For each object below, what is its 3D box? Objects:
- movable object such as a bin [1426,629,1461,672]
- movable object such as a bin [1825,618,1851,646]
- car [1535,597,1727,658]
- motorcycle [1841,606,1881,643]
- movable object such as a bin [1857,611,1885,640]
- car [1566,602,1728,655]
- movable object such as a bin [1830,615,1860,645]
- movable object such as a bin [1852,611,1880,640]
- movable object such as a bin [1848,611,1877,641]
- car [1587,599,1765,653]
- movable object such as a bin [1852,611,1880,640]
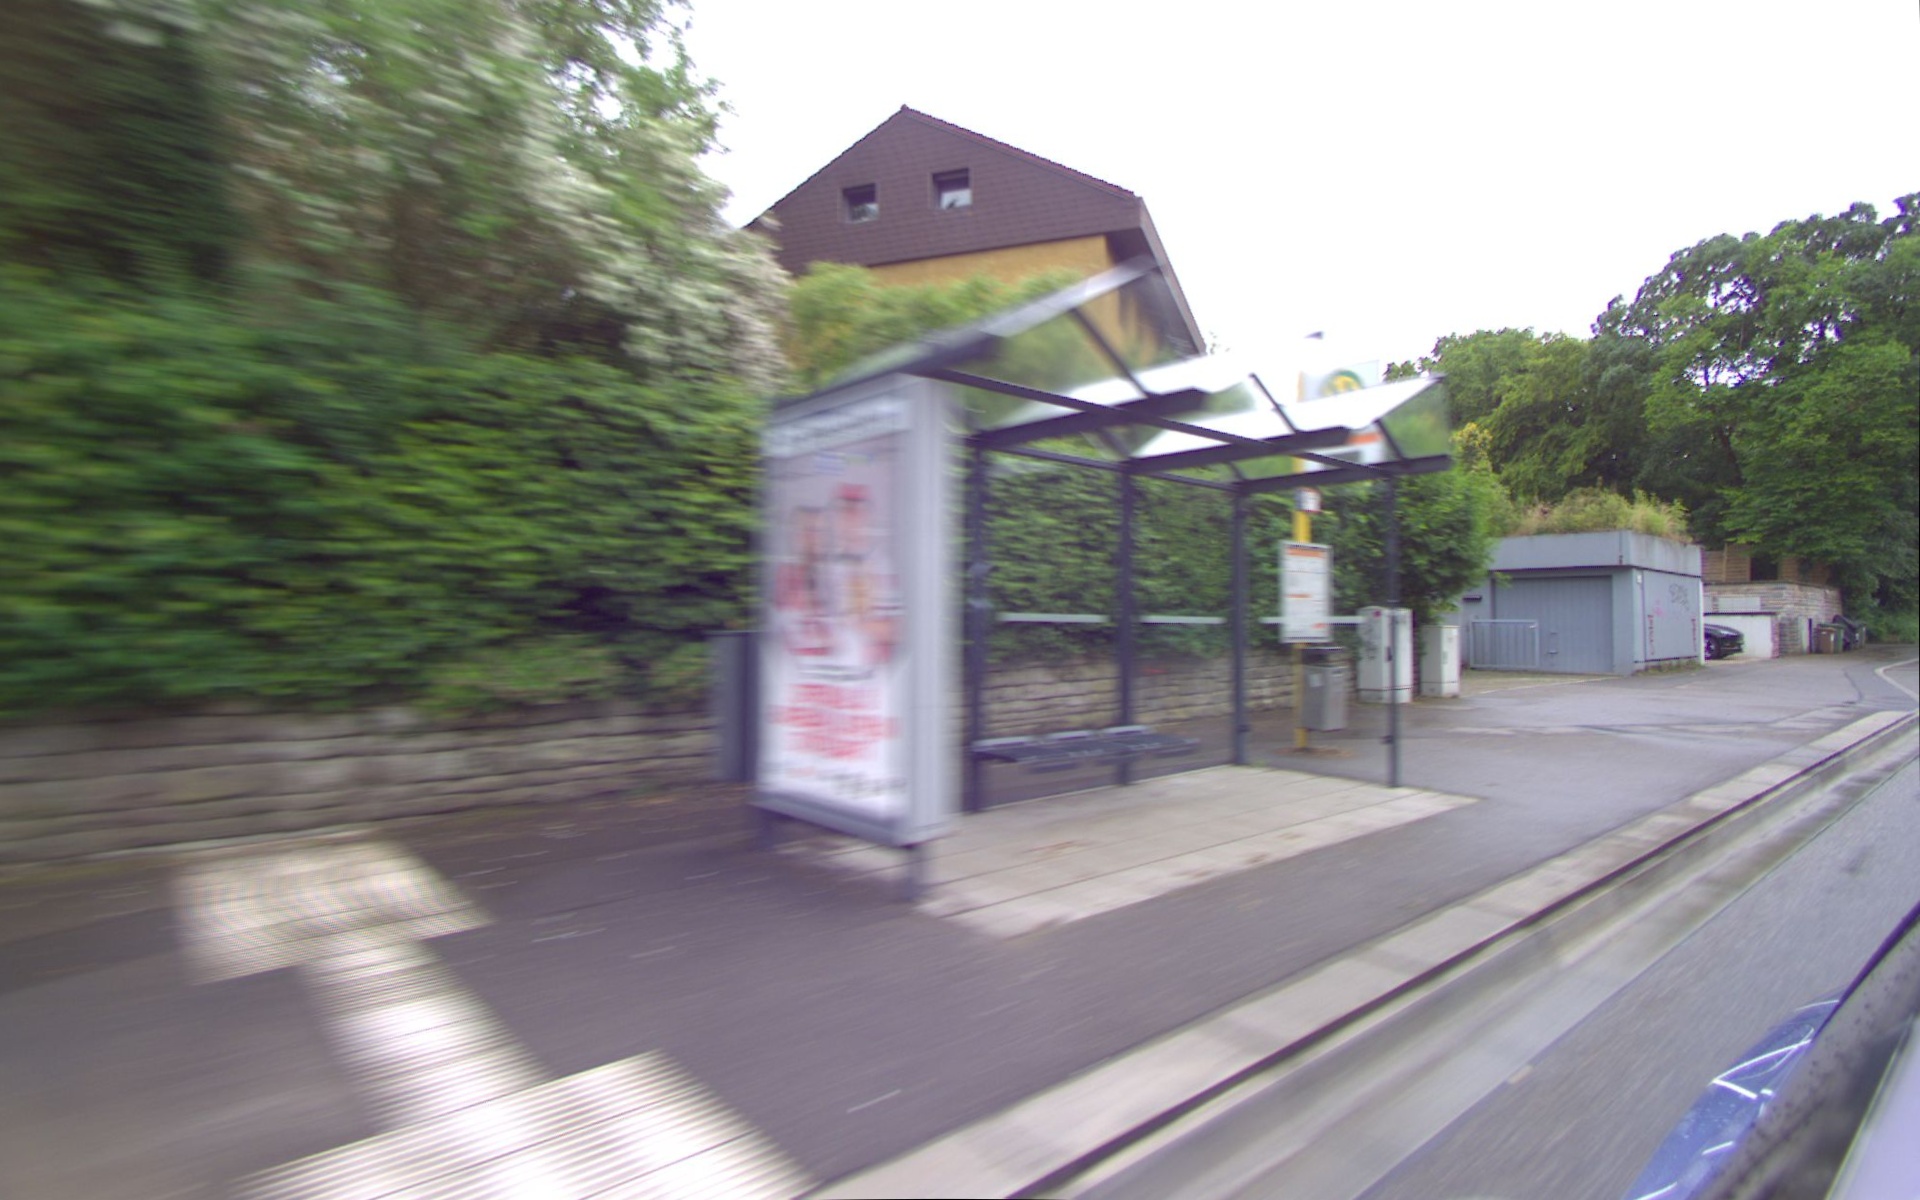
[{"bbox_3d":[10.561,1.104,22.123,0.527,0.918,0.556,-2,-2,44],"label":"movable object such as a bin"},{"bbox_3d":[30.258,1.104,34.863,0.540,0.949,0.569,1,-2,-40],"label":"movable object such as a bin"},{"bbox_3d":[18.631,0.724,28.242,1.922,1.534,4.046,2,0,-37],"label":"car"},{"bbox_3d":[32.183,0.866,36.145,1.977,1.261,0.776,0,-2,-40],"label":"motorcycle"},{"bbox_3d":[34.966,0.970,38.845,0.689,1.082,0.666,0,-2,-40],"label":"movable object such as a bin"},{"bbox_3d":[20.258,0.797,29.942,1.805,1.444,3.640,1,0,-41],"label":"car"},{"bbox_3d":[30.852,1.056,35.289,0.647,1.017,0.666,0,-2,-40],"label":"movable object such as a bin"},{"bbox_3d":[34.306,0.966,38.312,0.689,1.082,0.666,0,-2,-40],"label":"movable object such as a bin"},{"bbox_3d":[33.232,0.969,37.273,0.647,1.082,0.666,1,-2,-40],"label":"movable object such as a bin"},{"bbox_3d":[22.231,0.763,31.549,1.861,1.526,4.226,1,0,-40],"label":"car"},{"bbox_3d":[33.809,0.960,37.775,0.647,1.082,0.666,1,-2,-40],"label":"movable object such as a bin"}]
